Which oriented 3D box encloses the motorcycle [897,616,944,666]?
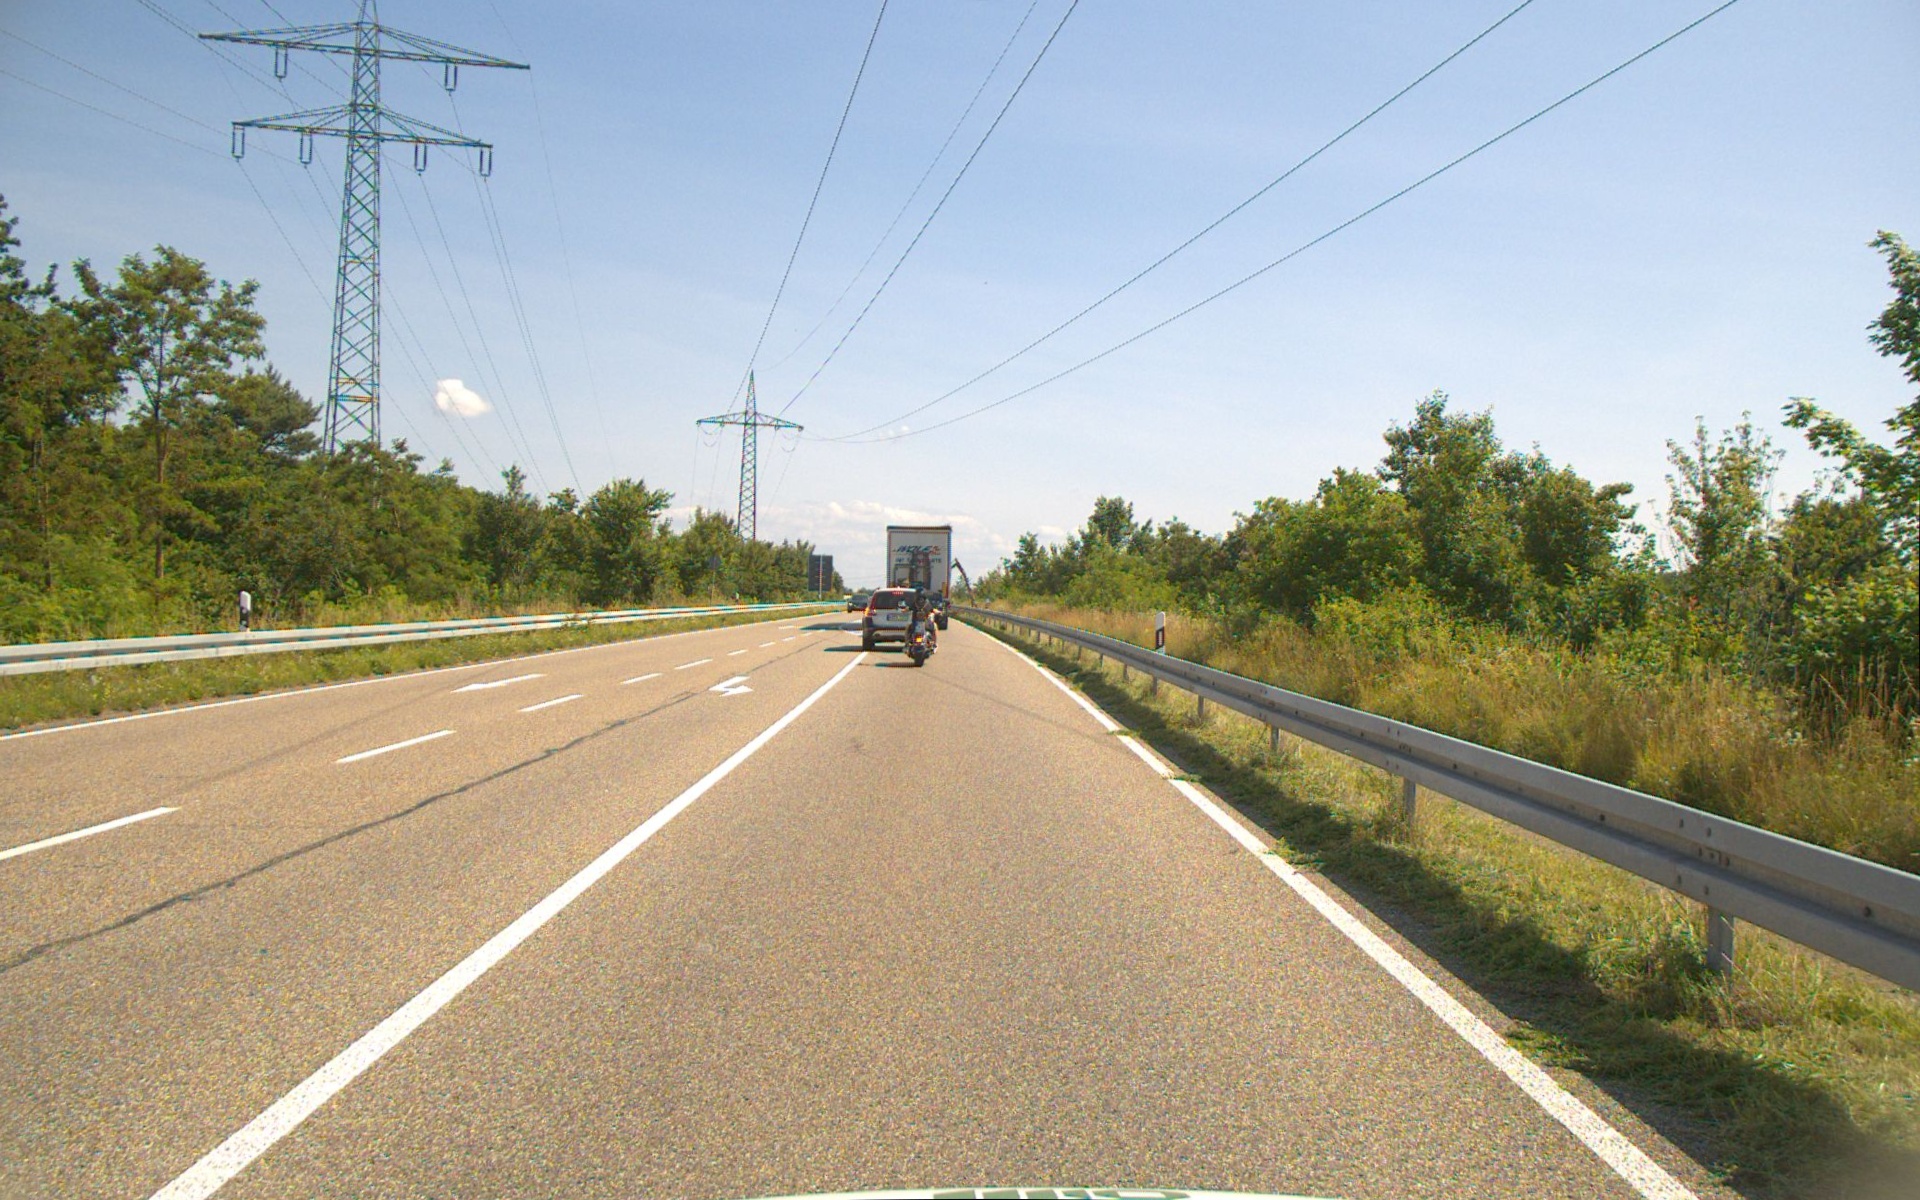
[{"bbox_3d":[-0.813,0.806,33.346,0.842,0.931,2.226,1,0,-4],"label":"motorcycle"}]

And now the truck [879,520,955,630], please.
[{"bbox_3d":[-1.761,-0.987,71.890,2.907,4.260,14.819,1,0,-1],"label":"truck"}]

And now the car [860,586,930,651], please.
[{"bbox_3d":[-1.638,0.444,42.330,1.666,1.563,3.498,1,0,-2],"label":"car"}]

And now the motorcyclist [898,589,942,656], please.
[{"bbox_3d":[-0.807,0.447,33.323,0.820,1.303,0.918,1,0,-4],"label":"motorcyclist"}]

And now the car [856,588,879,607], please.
[{"bbox_3d":[-7.419,-0.191,132.908,1.692,1.517,4.421,1,0,-2],"label":"car"}]
